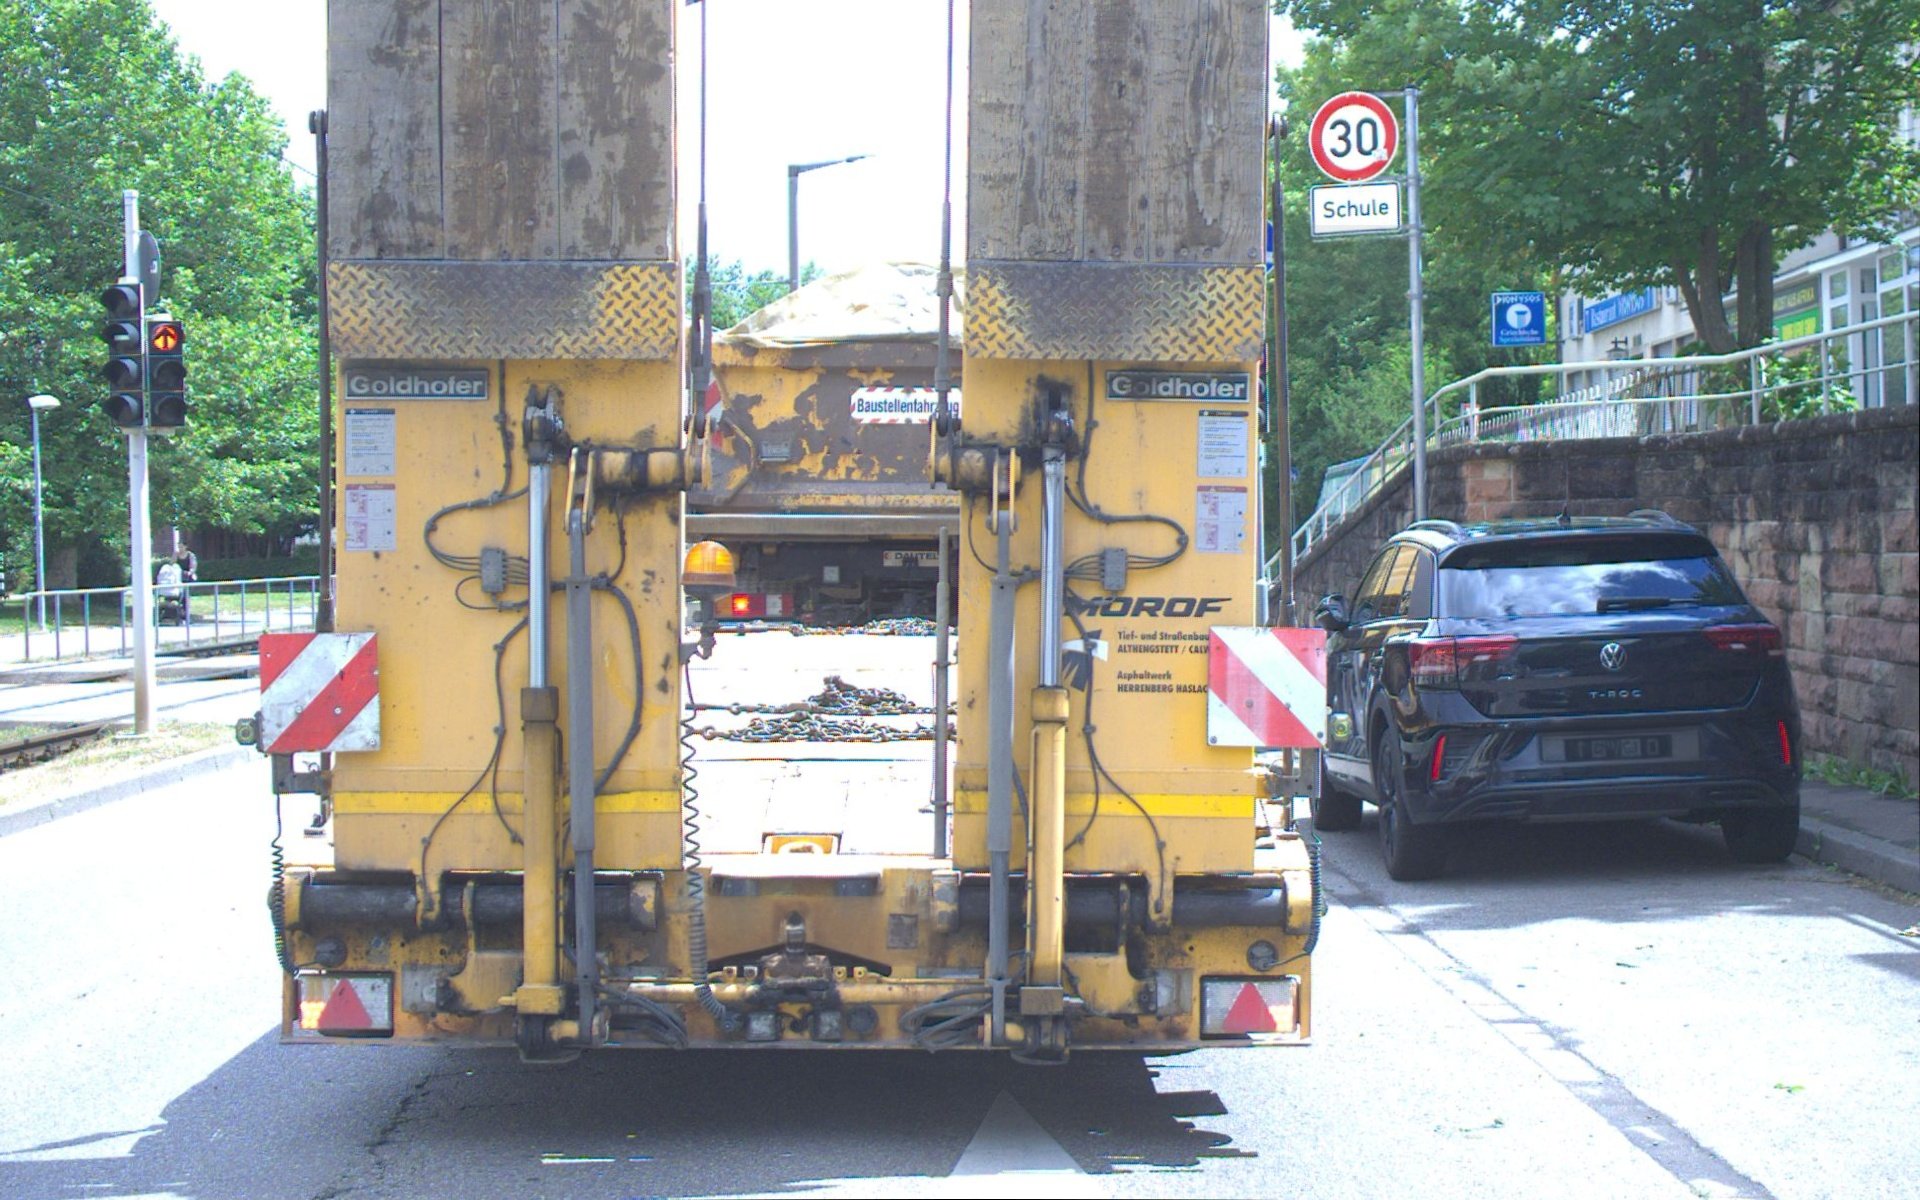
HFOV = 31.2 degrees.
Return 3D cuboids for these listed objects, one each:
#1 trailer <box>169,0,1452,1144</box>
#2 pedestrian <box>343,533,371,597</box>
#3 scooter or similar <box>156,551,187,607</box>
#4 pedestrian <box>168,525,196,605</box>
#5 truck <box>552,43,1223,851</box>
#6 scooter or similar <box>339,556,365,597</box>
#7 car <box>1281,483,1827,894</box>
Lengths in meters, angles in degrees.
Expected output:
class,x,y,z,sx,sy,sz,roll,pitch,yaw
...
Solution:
class,x,y,z,sx,sy,sz,roll,pitch,yaw
trailer,-0.328,-0.634,12.327,2.945,3.589,8.684,-1,1,0
pedestrian,-14.436,-0.839,82.333,0.563,1.508,0.646,1,1,-1
scooter or similar,-14.945,-0.406,65.169,0.338,1.054,0.687,-1,1,5
pedestrian,-14.891,-0.670,65.787,0.348,1.531,0.557,-1,1,3
truck,-0.319,-0.726,17.766,2.942,3.560,4.877,-1,1,0
scooter or similar,-14.448,-0.564,81.684,0.505,0.968,0.646,1,1,-1
car,2.646,0.329,16.231,1.851,1.633,4.000,-2,1,0
